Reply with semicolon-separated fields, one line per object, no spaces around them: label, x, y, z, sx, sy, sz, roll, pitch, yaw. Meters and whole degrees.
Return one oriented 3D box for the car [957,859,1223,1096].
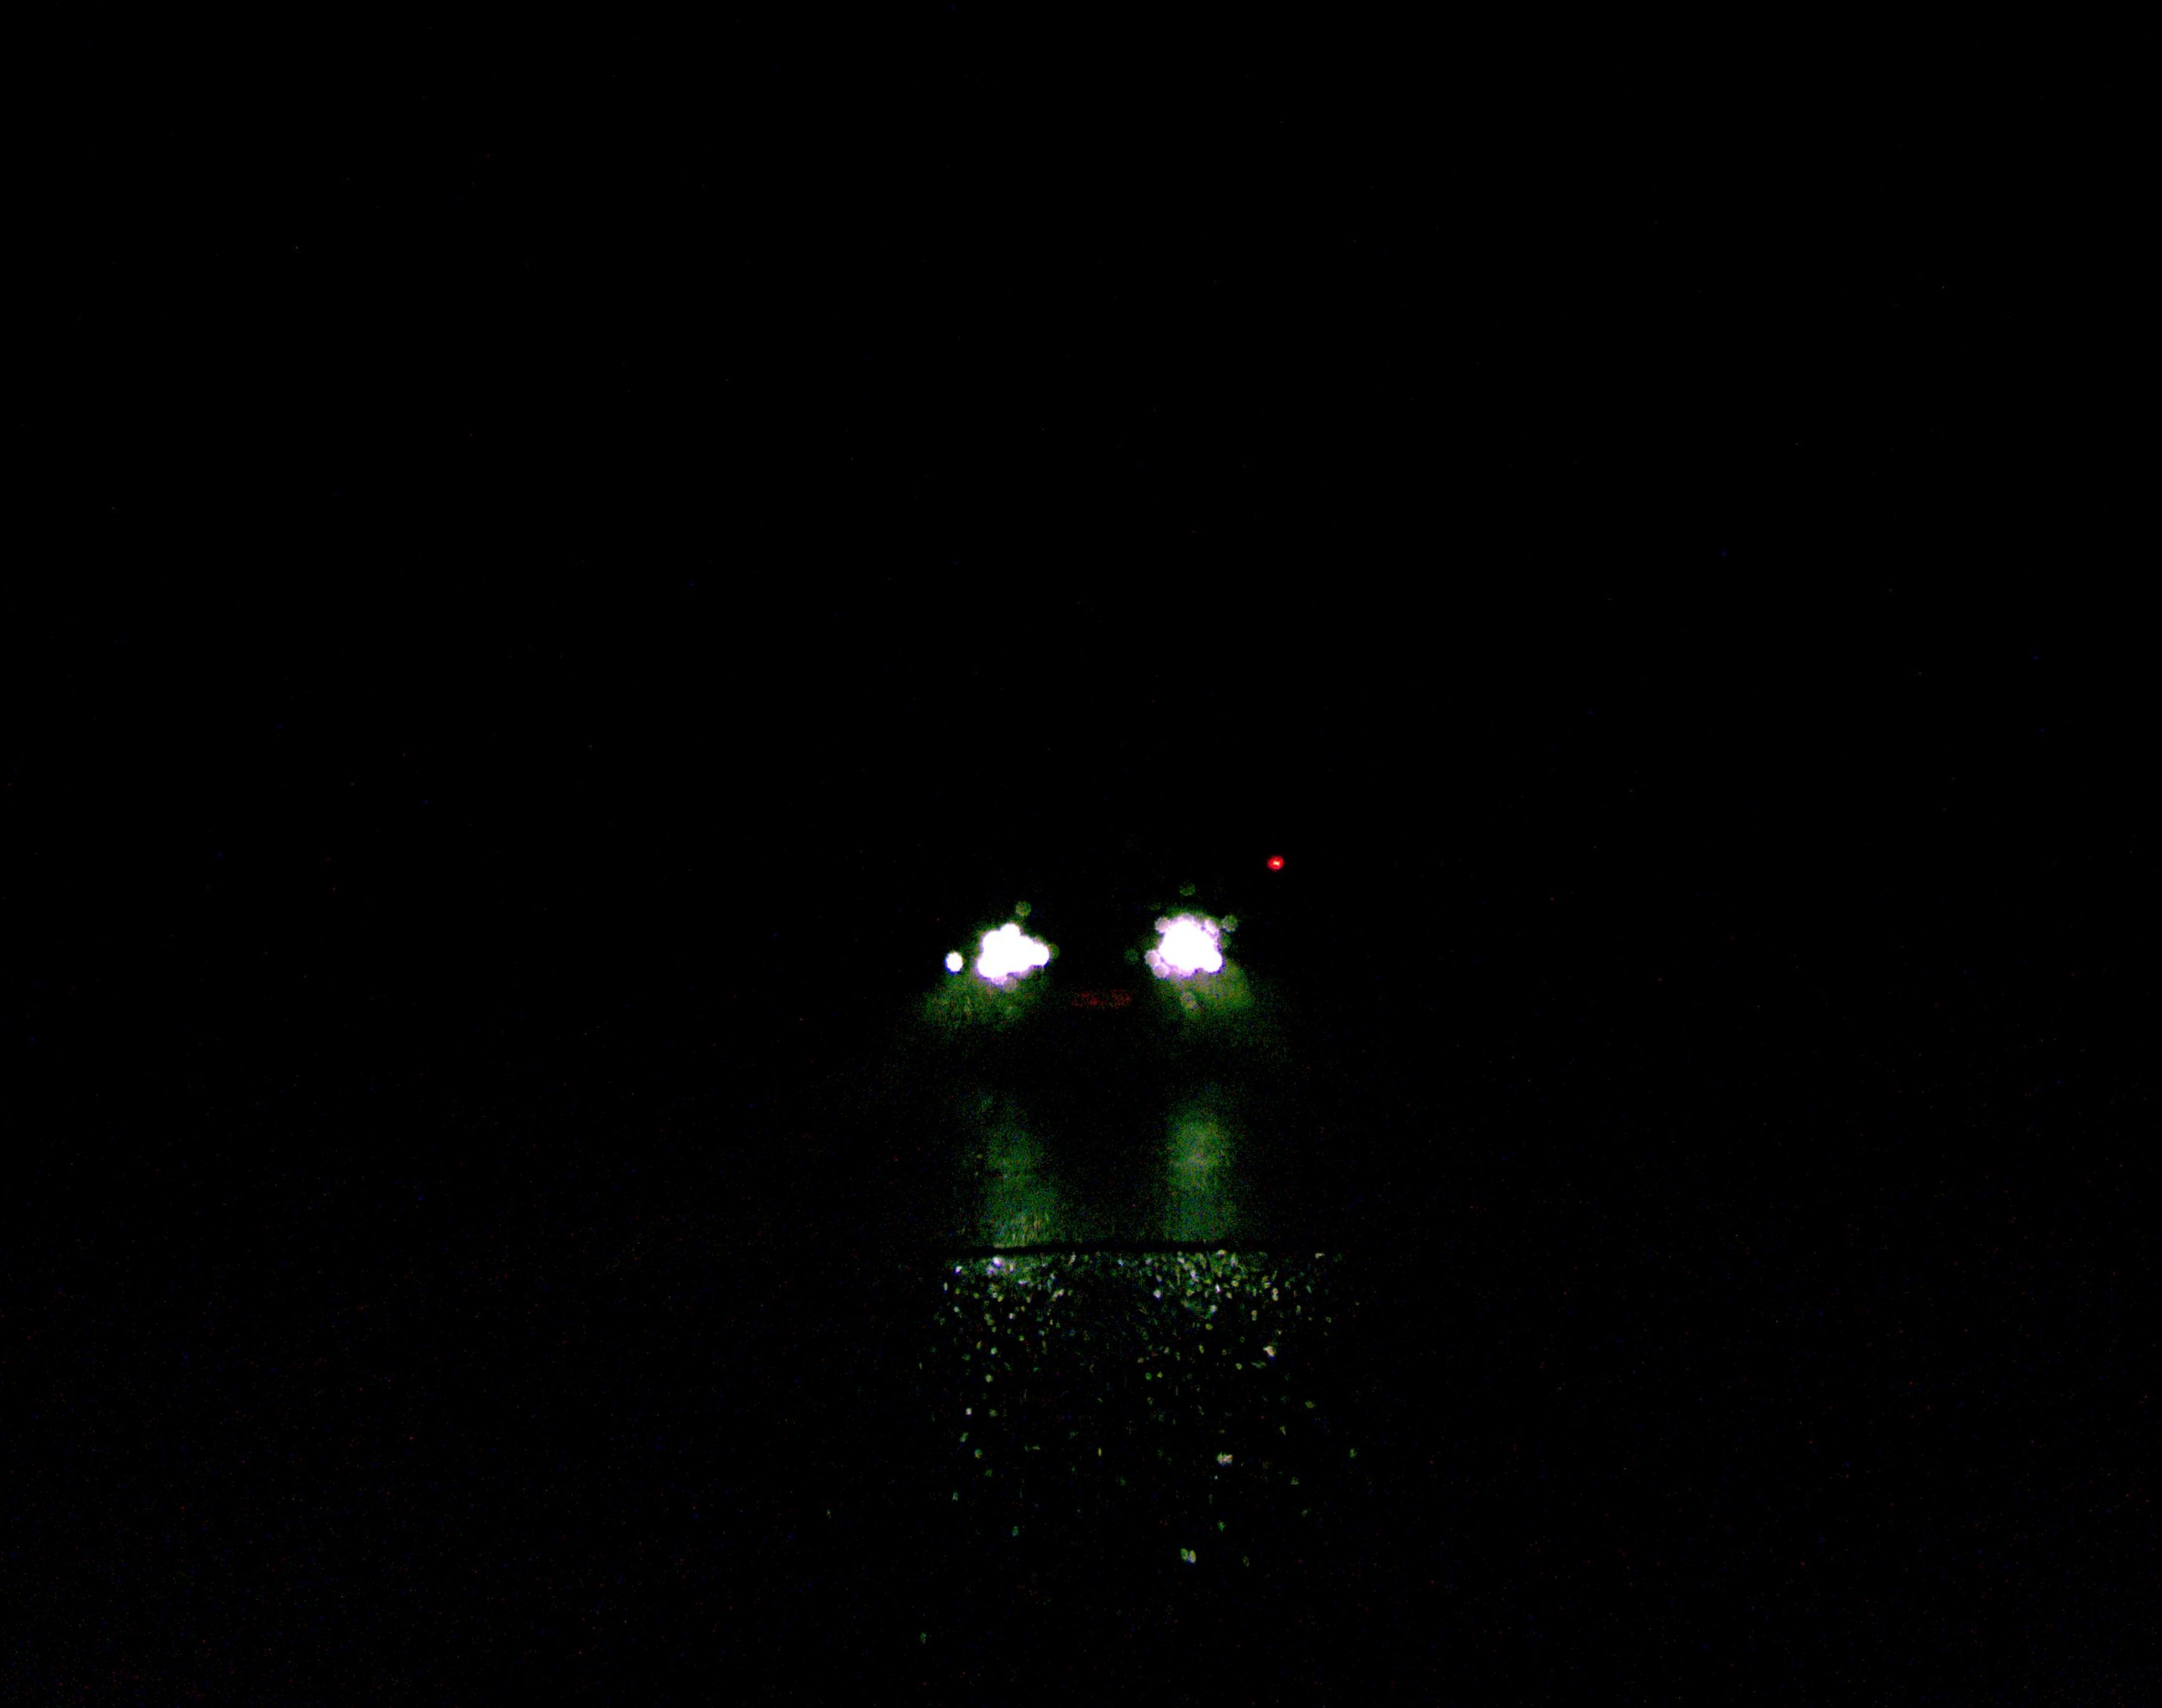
car;0.161;0.908;7.440;1.845;1.565;4.000;-2;1;3
